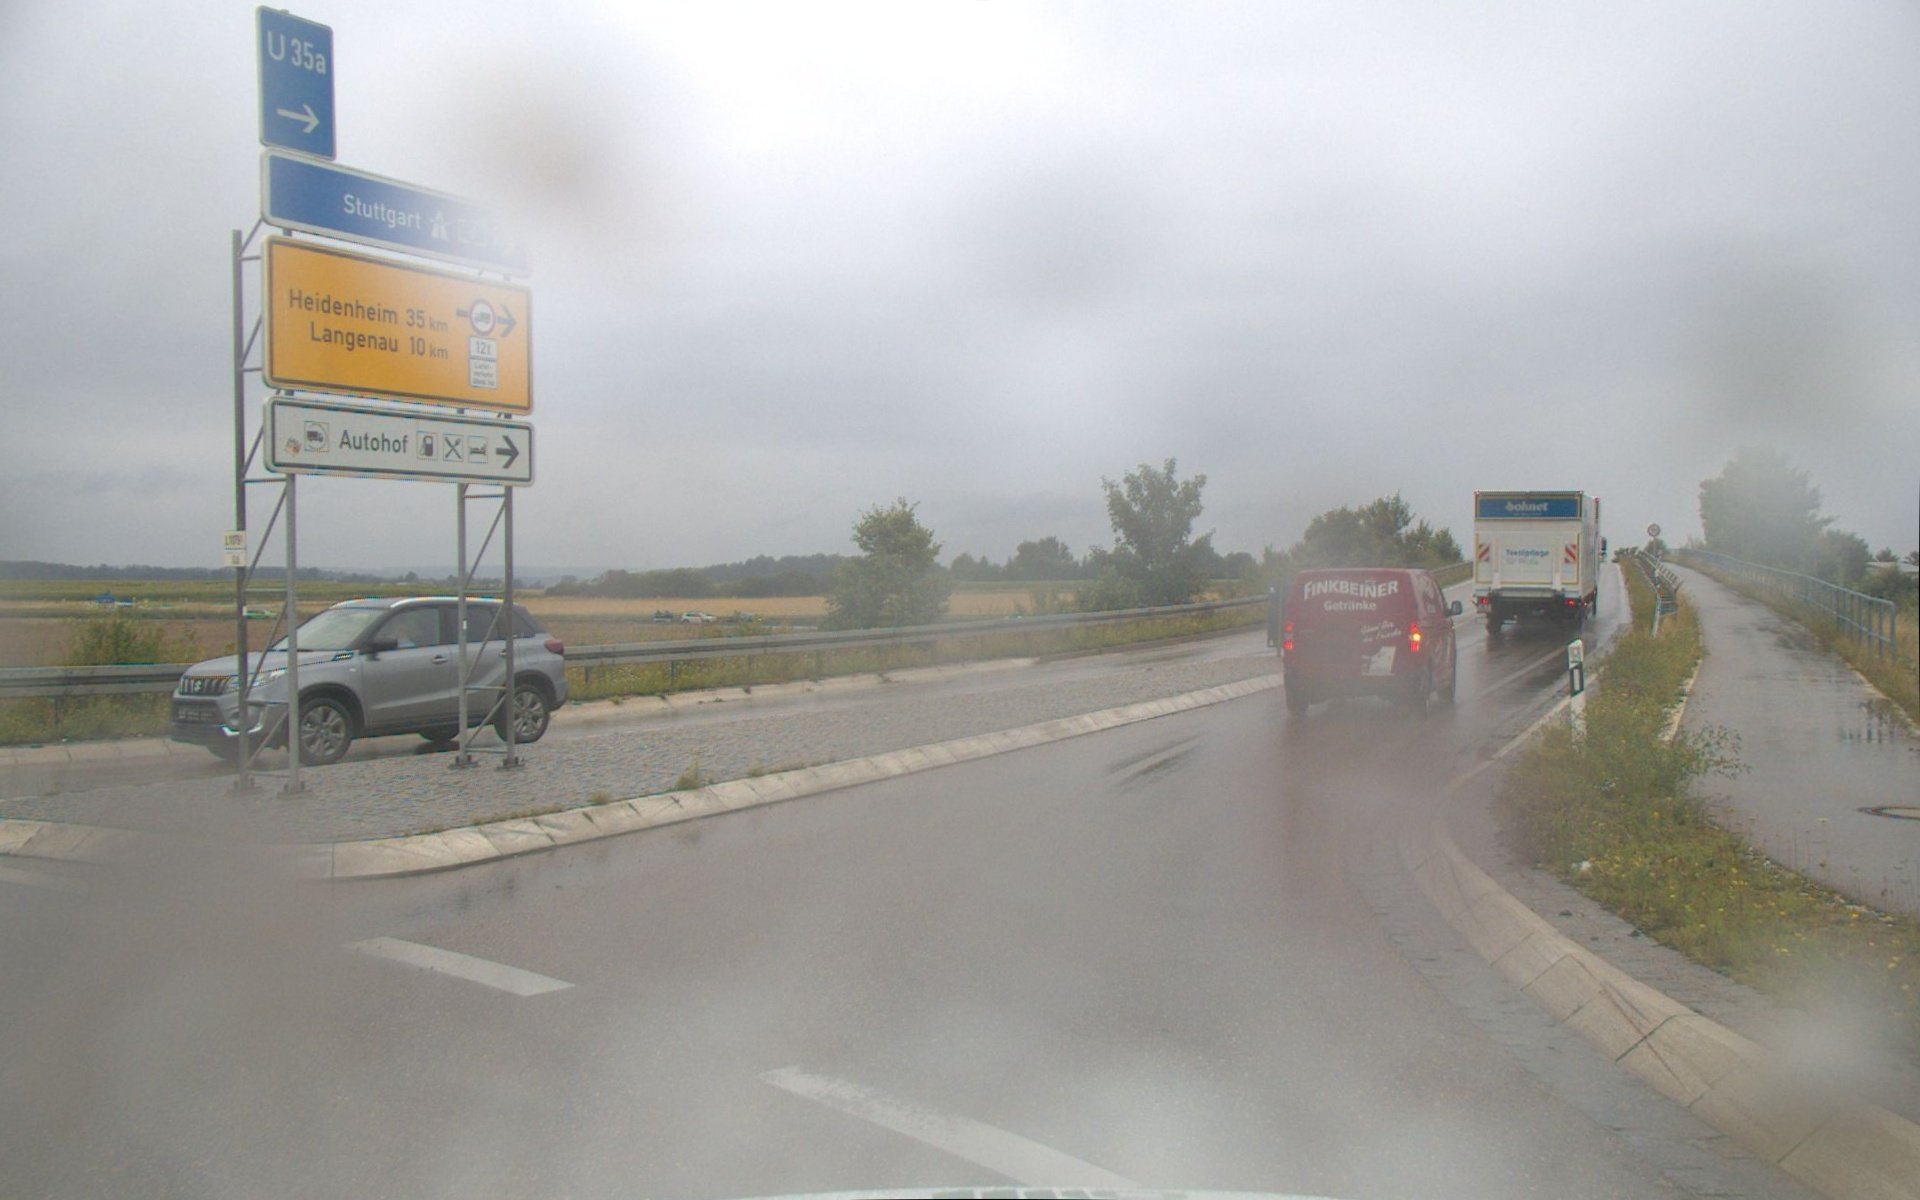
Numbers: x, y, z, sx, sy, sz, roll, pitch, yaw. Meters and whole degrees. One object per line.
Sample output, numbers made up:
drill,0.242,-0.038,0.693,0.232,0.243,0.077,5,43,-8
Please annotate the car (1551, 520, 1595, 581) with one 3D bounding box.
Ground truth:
car,31.179,-2.482,84.059,1.953,2.993,4.000,1,1,22

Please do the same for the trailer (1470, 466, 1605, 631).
trailer,15.533,-1.323,44.026,2.774,3.885,9.713,0,1,23

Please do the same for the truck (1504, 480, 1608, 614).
truck,18.856,-1.628,52.055,2.742,3.885,7.689,0,1,22

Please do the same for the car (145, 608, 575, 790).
car,-6.169,0.921,17.403,1.770,1.602,3.986,1,1,35

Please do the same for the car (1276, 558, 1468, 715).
car,5.878,0.408,23.145,1.952,1.903,4.979,-1,2,21
